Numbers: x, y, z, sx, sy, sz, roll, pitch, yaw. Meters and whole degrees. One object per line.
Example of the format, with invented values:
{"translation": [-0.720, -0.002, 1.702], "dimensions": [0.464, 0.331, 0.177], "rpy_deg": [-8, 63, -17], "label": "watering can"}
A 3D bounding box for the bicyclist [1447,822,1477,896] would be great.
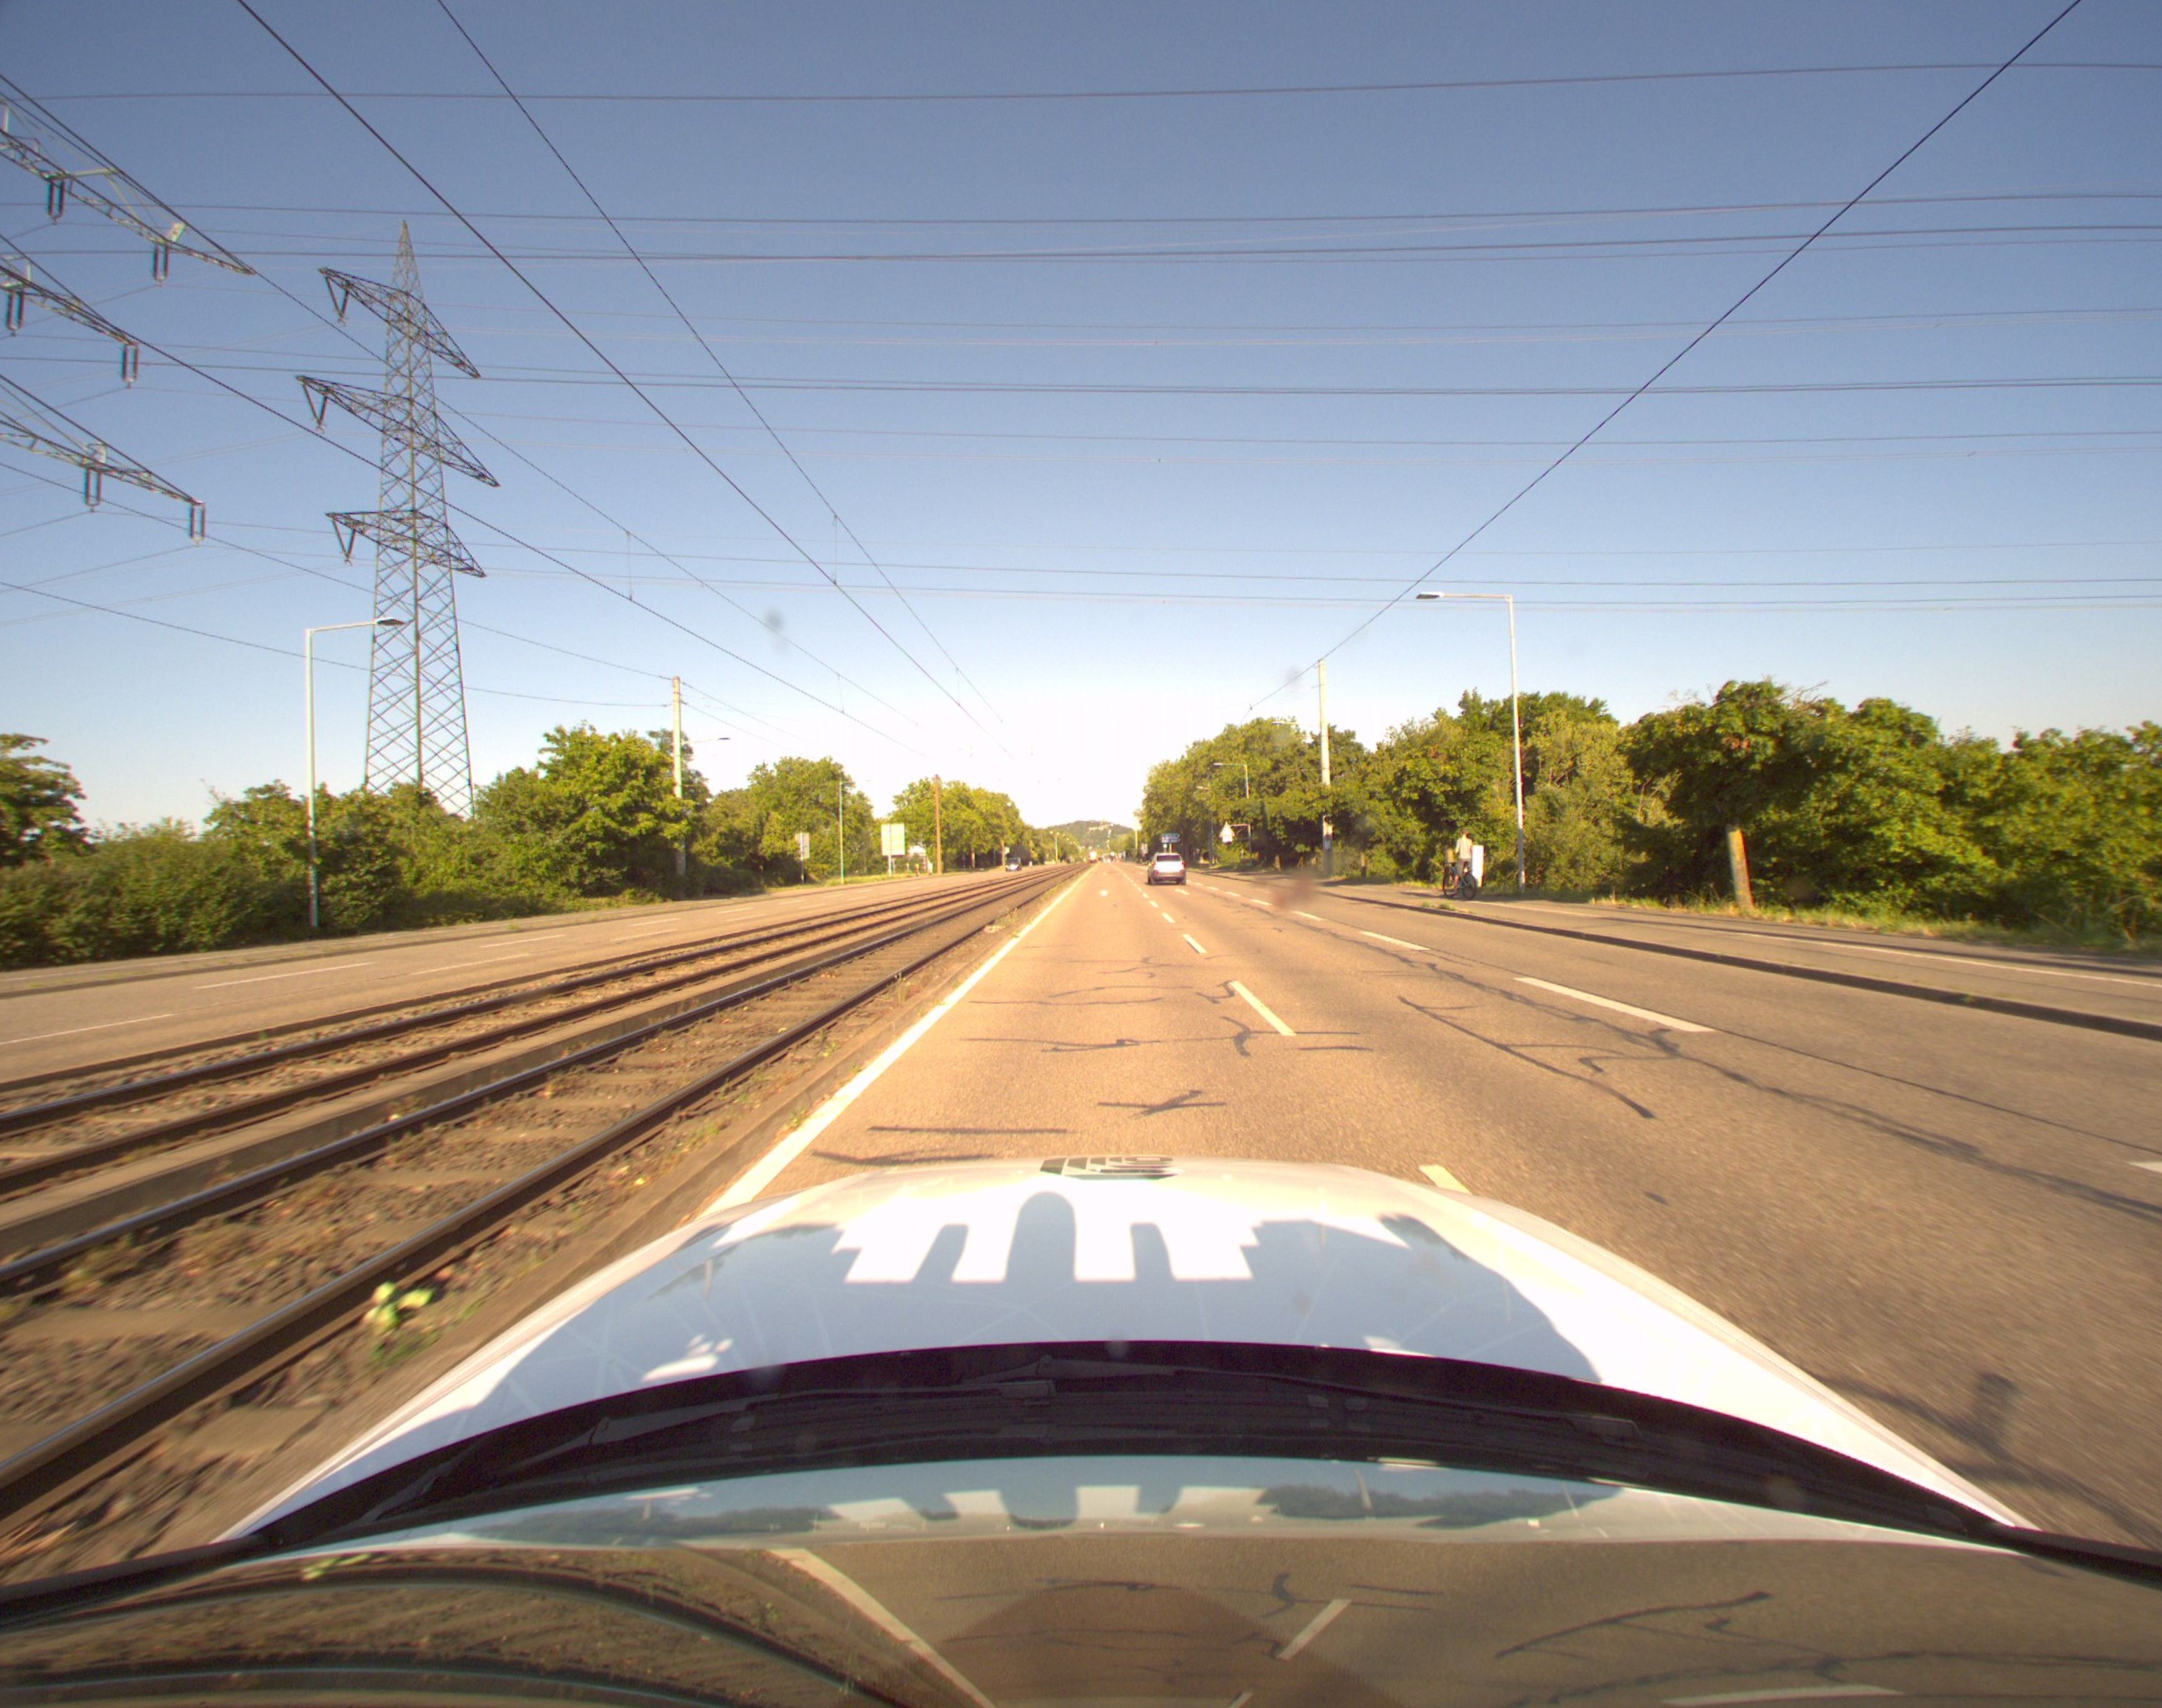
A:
{"translation": [10.550, 0.151, 22.561], "dimensions": [0.525, 2.017, 0.730], "rpy_deg": [0, -1, 3], "label": "bicyclist"}

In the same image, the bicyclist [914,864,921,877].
{"translation": [-18.854, 1.907, 94.008], "dimensions": [0.588, 1.528, 0.906], "rpy_deg": [-2, -1, 1], "label": "bicyclist"}

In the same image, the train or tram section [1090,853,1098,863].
{"translation": [4.274, 1.380, 260.009], "dimensions": [2.302, 3.217, 9.478], "rpy_deg": [0, -1, 2], "label": "train or tram section"}

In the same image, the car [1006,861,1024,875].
{"translation": [-9.557, 2.047, 118.444], "dimensions": [1.985, 1.923, 4.864], "rpy_deg": [-2, -1, 3], "label": "car"}

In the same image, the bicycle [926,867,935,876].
{"translation": [-17.631, 2.026, 95.605], "dimensions": [0.588, 1.022, 2.186], "rpy_deg": [-2, -1, 1], "label": "bicycle"}

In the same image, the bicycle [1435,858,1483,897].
{"translation": [10.565, 0.640, 22.845], "dimensions": [0.525, 1.060, 1.973], "rpy_deg": [0, -1, 3], "label": "bicycle"}

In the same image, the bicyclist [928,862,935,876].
{"translation": [-17.634, 1.725, 95.768], "dimensions": [0.588, 1.611, 0.967], "rpy_deg": [-2, -1, 1], "label": "bicyclist"}

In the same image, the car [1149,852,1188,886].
{"translation": [4.593, 0.807, 43.447], "dimensions": [1.880, 1.693, 4.260], "rpy_deg": [-1, -1, 4], "label": "car"}

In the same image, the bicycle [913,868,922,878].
{"translation": [-18.848, 2.174, 93.927], "dimensions": [0.588, 1.022, 2.186], "rpy_deg": [-2, -1, 1], "label": "bicycle"}
